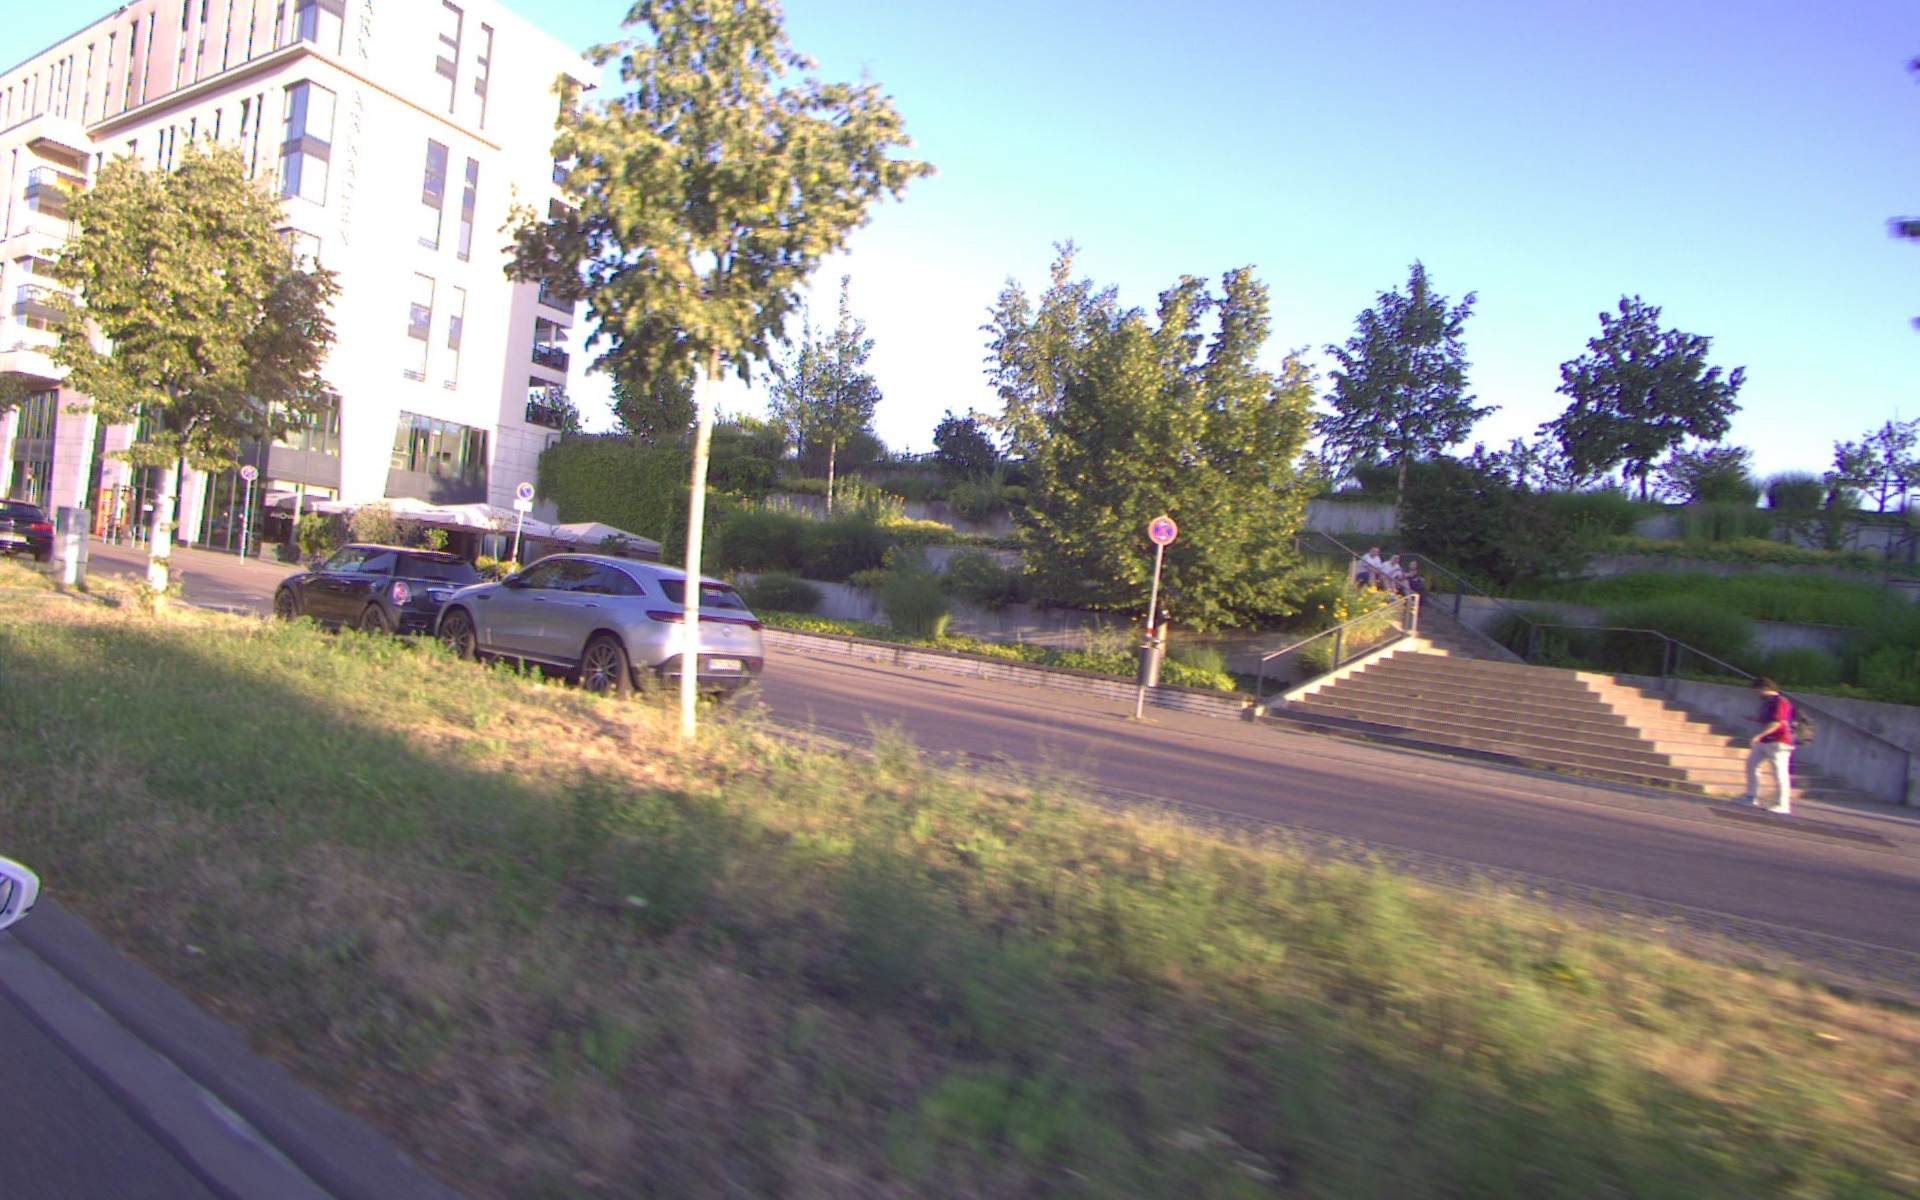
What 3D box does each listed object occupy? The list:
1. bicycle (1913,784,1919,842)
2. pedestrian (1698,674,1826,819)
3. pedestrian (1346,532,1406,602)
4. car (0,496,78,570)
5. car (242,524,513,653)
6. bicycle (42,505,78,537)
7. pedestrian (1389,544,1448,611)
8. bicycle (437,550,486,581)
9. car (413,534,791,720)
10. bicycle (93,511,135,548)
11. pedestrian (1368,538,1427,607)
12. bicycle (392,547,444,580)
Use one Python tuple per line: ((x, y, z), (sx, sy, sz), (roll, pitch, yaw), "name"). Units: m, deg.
((12.097, 2.408, 11.298), (0.540, 1.056, 1.892), (6, 0, -39), "bicycle")
((10.449, 1.879, 13.149), (1.060, 1.675, 0.696), (7, 1, 31), "pedestrian")
((9.018, -0.720, 21.809), (0.662, 1.397, 0.821), (8, -1, -27), "pedestrian")
((-23.226, -1.741, 24.135), (4.295, 1.519, 1.811), (7, 0, 31), "car")
((-8.823, -0.185, 15.178), (3.933, 1.414, 1.753), (7, -1, 31), "car")
((-37.312, -3.268, 41.707), (1.837, 1.143, 0.547), (7, 2, 30), "bicycle")
((10.272, -0.504, 22.531), (0.662, 1.397, 0.821), (8, -1, -27), "pedestrian")
((-20.835, -1.430, 42.079), (0.491, 1.121, 1.798), (7, 0, 28), "bicycle")
((-4.532, 0.276, 12.508), (4.598, 1.652, 1.811), (7, 0, 31), "car")
((-32.443, -2.702, 38.567), (1.642, 1.246, 0.618), (7, 1, 30), "bicycle")
((9.651, -0.612, 22.201), (0.662, 1.398, 0.821), (8, 0, -27), "pedestrian")
((-21.663, -1.459, 40.236), (0.491, 1.121, 1.798), (7, 0, 28), "bicycle")
